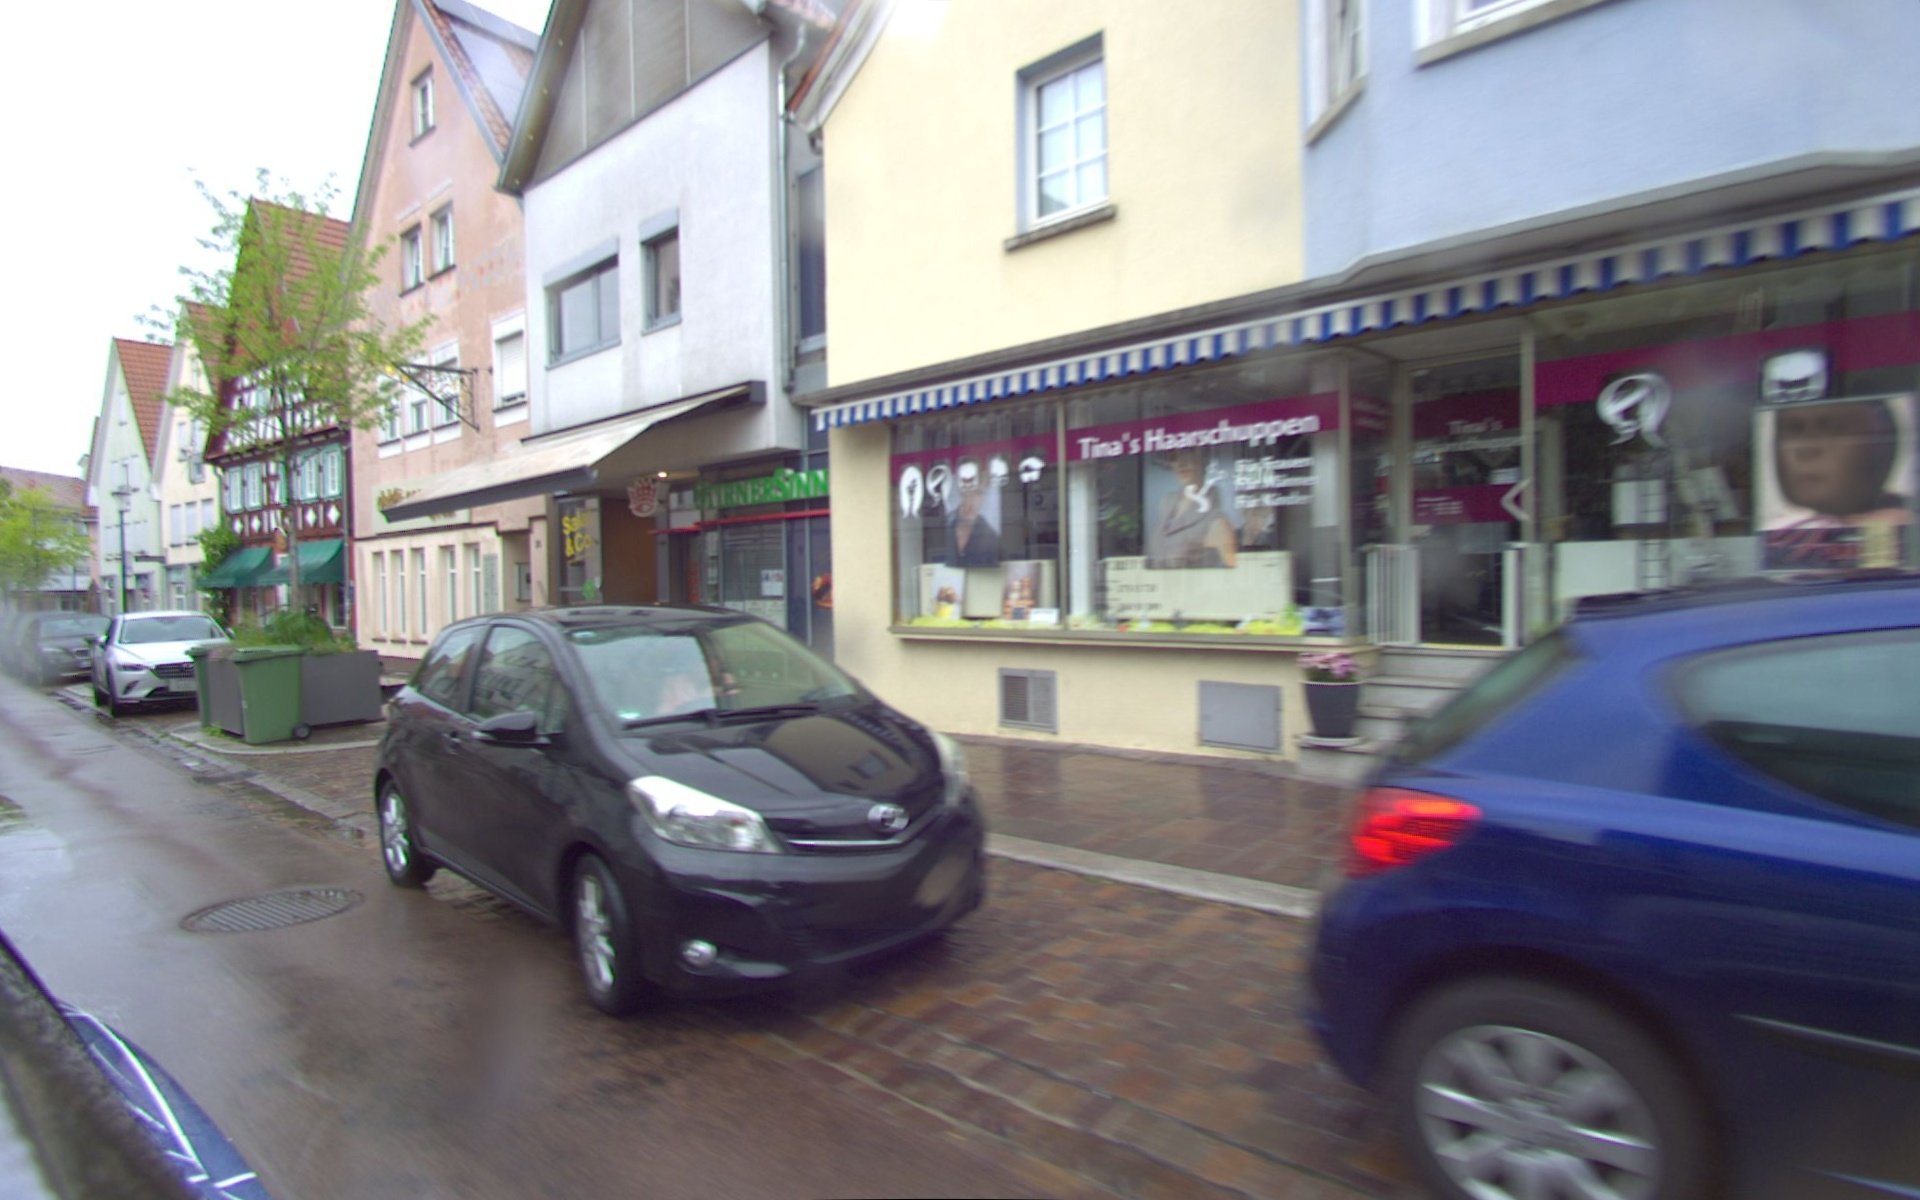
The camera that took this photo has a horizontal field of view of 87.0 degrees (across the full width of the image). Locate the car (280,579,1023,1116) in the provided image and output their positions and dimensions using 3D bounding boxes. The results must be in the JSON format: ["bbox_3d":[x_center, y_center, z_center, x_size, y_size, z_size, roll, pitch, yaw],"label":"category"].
[{"bbox_3d":[-1.742,0.734,4.790,3.886,1.454,1.673,-2,1,45],"label":"car"}]

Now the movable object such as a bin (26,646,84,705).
[{"bbox_3d":[-18.432,1.526,20.612,0.675,1.090,0.761,0,2,39],"label":"movable object such as a bin"}]

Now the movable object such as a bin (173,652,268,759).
[{"bbox_3d":[-8.134,1.134,11.130,0.704,1.060,0.701,-3,0,45],"label":"movable object such as a bin"}]

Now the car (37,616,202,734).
[{"bbox_3d":[-13.563,1.144,16.242,1.672,1.549,4.123,-4,0,-44],"label":"car"}]

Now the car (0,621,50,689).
[{"bbox_3d":[-25.919,1.468,27.313,1.803,1.678,4.645,-3,1,-44],"label":"car"}]

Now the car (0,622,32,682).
[{"bbox_3d":[-30.997,1.652,32.401,1.802,1.678,4.647,-3,3,-43],"label":"car"}]

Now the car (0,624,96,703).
[{"bbox_3d":[-21.443,1.432,23.327,4.289,1.549,1.761,-3,1,43],"label":"car"}]

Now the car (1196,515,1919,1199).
[{"bbox_3d":[2.646,0.549,1.797,3.937,1.485,1.740,-2,1,37],"label":"car"}]

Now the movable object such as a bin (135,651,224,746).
[{"bbox_3d":[-9.888,1.225,12.818,0.777,1.093,0.693,-4,1,-44],"label":"movable object such as a bin"}]
